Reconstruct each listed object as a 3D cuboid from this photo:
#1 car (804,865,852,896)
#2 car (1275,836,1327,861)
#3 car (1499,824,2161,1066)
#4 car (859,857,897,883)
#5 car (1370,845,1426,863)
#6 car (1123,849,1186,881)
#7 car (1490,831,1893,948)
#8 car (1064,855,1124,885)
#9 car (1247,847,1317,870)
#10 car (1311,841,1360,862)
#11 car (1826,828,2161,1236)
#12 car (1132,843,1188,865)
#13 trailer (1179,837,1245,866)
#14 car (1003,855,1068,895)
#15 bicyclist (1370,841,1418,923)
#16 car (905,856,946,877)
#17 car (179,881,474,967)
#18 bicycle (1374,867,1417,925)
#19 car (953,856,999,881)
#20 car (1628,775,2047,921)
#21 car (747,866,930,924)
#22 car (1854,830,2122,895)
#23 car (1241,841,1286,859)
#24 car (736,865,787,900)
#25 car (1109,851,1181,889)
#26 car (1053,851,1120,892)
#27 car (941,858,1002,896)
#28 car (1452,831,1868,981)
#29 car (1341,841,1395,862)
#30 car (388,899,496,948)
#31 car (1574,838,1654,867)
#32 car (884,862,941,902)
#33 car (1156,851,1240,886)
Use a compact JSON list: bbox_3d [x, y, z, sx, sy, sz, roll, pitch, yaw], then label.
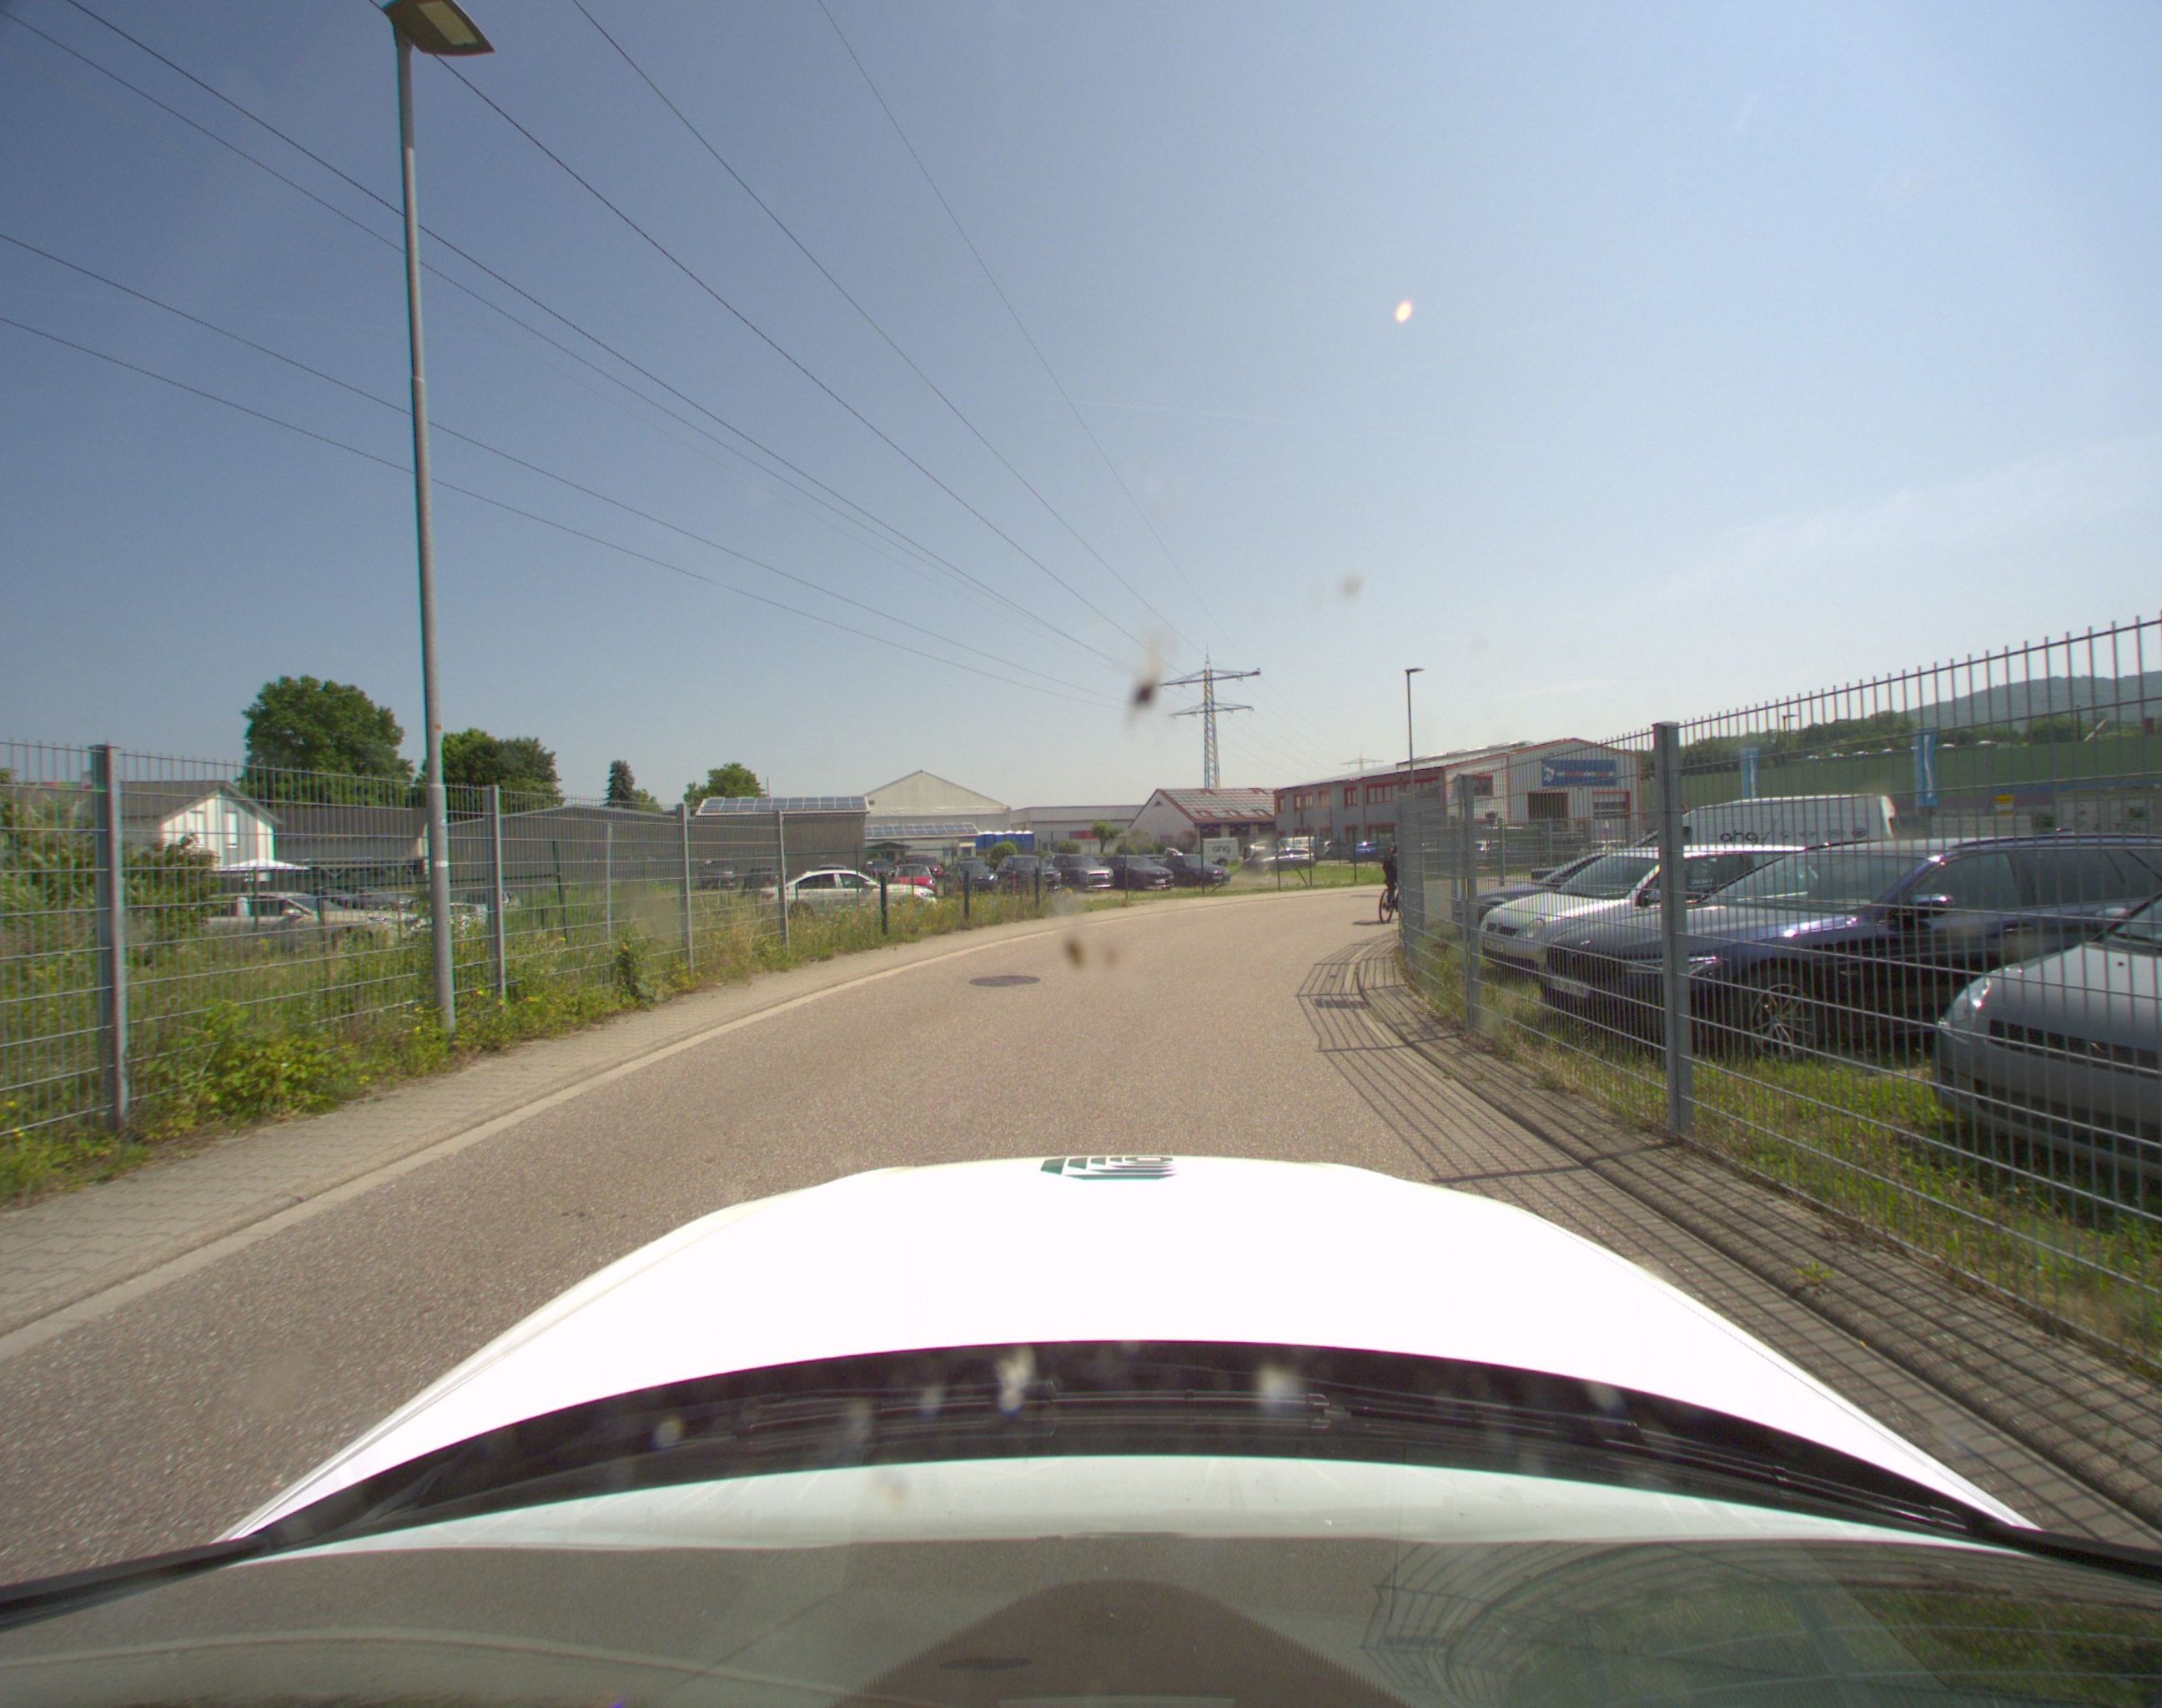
[{"bbox_3d":[-11.599,1.177,37.216,1.869,1.298,3.417,-2,0,-20],"label":"car"},{"bbox_3d":[18.554,-0.473,68.722,3.906,1.978,1.812,-2,0,-19],"label":"car"},{"bbox_3d":[5.912,0.577,6.188,4.519,1.474,1.826,-2,0,1],"label":"car"},{"bbox_3d":[-12.228,0.946,48.858,1.868,1.433,4.575,-2,0,-18],"label":"car"},{"bbox_3d":[22.573,-0.007,57.935,3.603,1.151,1.498,-2,0,-19],"label":"car"},{"bbox_3d":[3.831,0.553,43.357,1.998,1.435,4.401,-2,2,-14],"label":"car"},{"bbox_3d":[8.373,0.454,11.613,4.301,1.395,1.627,-2,0,35],"label":"car"},{"bbox_3d":[0.621,0.803,42.396,1.998,1.420,3.978,-2,1,-16],"label":"car"},{"bbox_3d":[12.244,0.265,49.653,4.142,1.261,1.227,-2,0,-20],"label":"car"},{"bbox_3d":[20.762,-0.225,66.418,3.603,1.544,1.498,-2,0,-19],"label":"car"},{"bbox_3d":[5.752,0.616,3.538,3.530,1.502,1.710,-2,0,-2],"label":"car"},{"bbox_3d":[6.234,-0.004,64.446,3.996,1.598,1.866,-2,0,-17],"label":"car"},{"bbox_3d":[9.553,-0.187,59.483,4.438,1.945,1.712,-2,0,-4],"label":"trailer"},{"bbox_3d":[-1.997,0.847,34.851,1.868,1.561,3.674,-2,0,-18],"label":"car"},{"bbox_3d":[6.391,0.549,16.680,0.836,1.618,1.044,0,0,17],"label":"bicyclist"},{"bbox_3d":[-9.610,0.743,49.954,1.868,1.175,4.575,-2,0,-18],"label":"car"},{"bbox_3d":[-16.898,1.500,18.564,4.436,1.562,2.030,-2,0,-18],"label":"car"},{"bbox_3d":[6.438,0.835,16.745,0.679,1.051,1.909,-1,1,17],"label":"bicycle"},{"bbox_3d":[-6.615,0.875,50.920,2.001,1.435,4.636,-2,0,-18],"label":"car"},{"bbox_3d":[13.230,-0.065,14.637,1.917,2.149,5.280,-2,0,-40],"label":"car"},{"bbox_3d":[-6.551,1.051,22.216,4.560,1.307,1.857,-2,0,-18],"label":"car"},{"bbox_3d":[20.212,0.175,18.336,1.917,1.277,3.883,-2,0,-40],"label":"car"},{"bbox_3d":[16.936,-0.382,75.521,3.906,1.516,1.498,-2,0,-19],"label":"car"},{"bbox_3d":[-14.514,1.251,36.926,1.872,1.414,3.412,-2,0,-26],"label":"car"},{"bbox_3d":[2.800,0.682,36.526,1.868,1.554,3.747,-2,0,-18],"label":"car"},{"bbox_3d":[0.166,0.737,35.946,1.868,1.644,3.611,-2,0,-18],"label":"car"},{"bbox_3d":[-4.645,0.933,34.195,1.868,1.433,3.626,-2,0,-18],"label":"car"},{"bbox_3d":[6.244,0.526,9.090,3.451,1.422,1.637,-2,0,2],"label":"car"},{"bbox_3d":[21.256,-0.188,60.296,3.603,1.416,1.498,-2,0,-19],"label":"car"},{"bbox_3d":[-21.176,2.264,27.140,1.657,1.314,3.372,-2,0,-17],"label":"car"},{"bbox_3d":[28.541,-0.073,43.652,3.603,1.404,1.740,-2,0,-19],"label":"car"},{"bbox_3d":[-6.945,1.099,33.369,1.868,1.453,3.419,-2,0,-19],"label":"car"},{"bbox_3d":[5.372,0.649,38.068,2.001,1.435,4.636,-2,0,-18],"label":"car"}]
